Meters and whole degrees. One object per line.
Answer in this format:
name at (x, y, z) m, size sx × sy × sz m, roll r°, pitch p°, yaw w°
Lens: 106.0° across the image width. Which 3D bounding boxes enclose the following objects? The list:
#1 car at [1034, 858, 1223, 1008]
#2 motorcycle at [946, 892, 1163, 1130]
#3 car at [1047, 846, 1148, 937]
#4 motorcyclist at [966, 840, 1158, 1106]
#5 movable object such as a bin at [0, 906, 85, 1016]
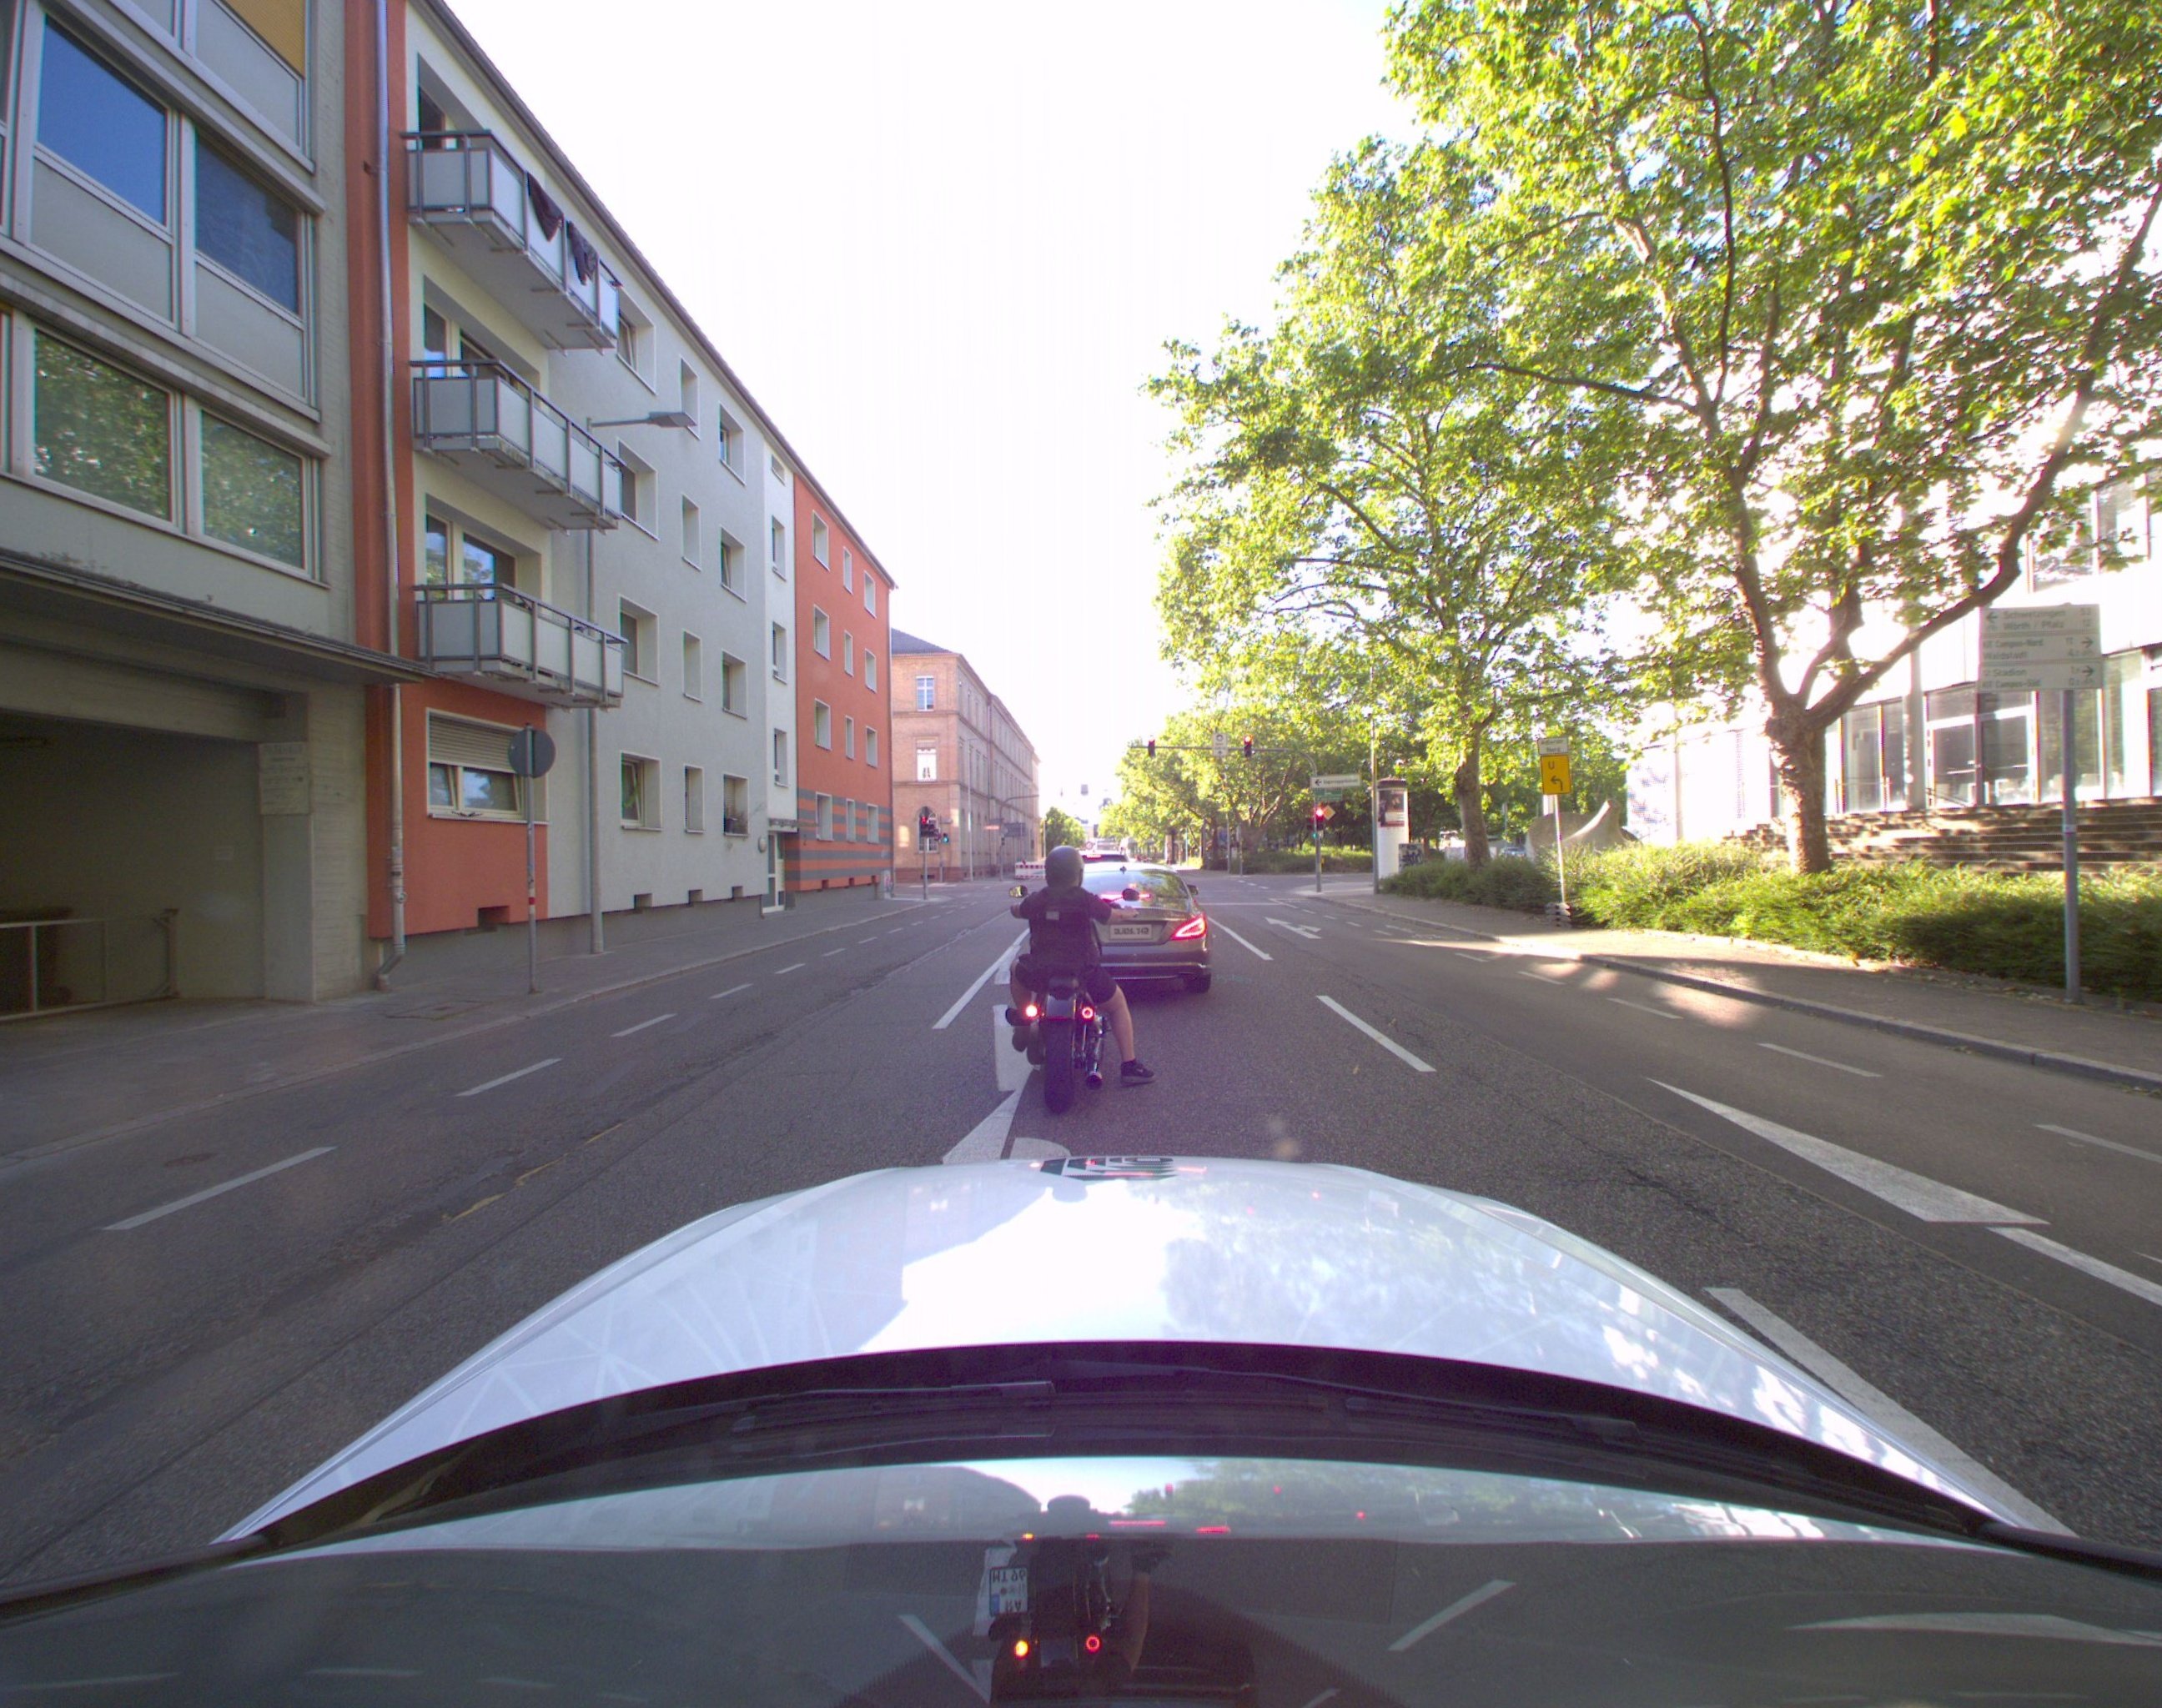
car at (0.515, 0.780, 9.775) m, size 1.815 × 1.437 × 3.807 m, roll 0°, pitch -1°, yaw 2°
motorcycle at (-0.047, 0.913, 5.618) m, size 1.111 × 1.207 × 2.217 m, roll -1°, pitch -1°, yaw 8°
car at (0.376, 0.712, 17.063) m, size 1.856 × 1.678 × 4.001 m, roll 0°, pitch -1°, yaw 2°
motorcyclist at (-0.075, 0.705, 5.399) m, size 1.093 × 1.566 × 1.074 m, roll -1°, pitch -1°, yaw 8°
movable object such as a bin at (-11.290, 1.118, 8.643) m, size 0.533 × 1.079 × 0.723 m, roll 0°, pitch -1°, yaw 3°
